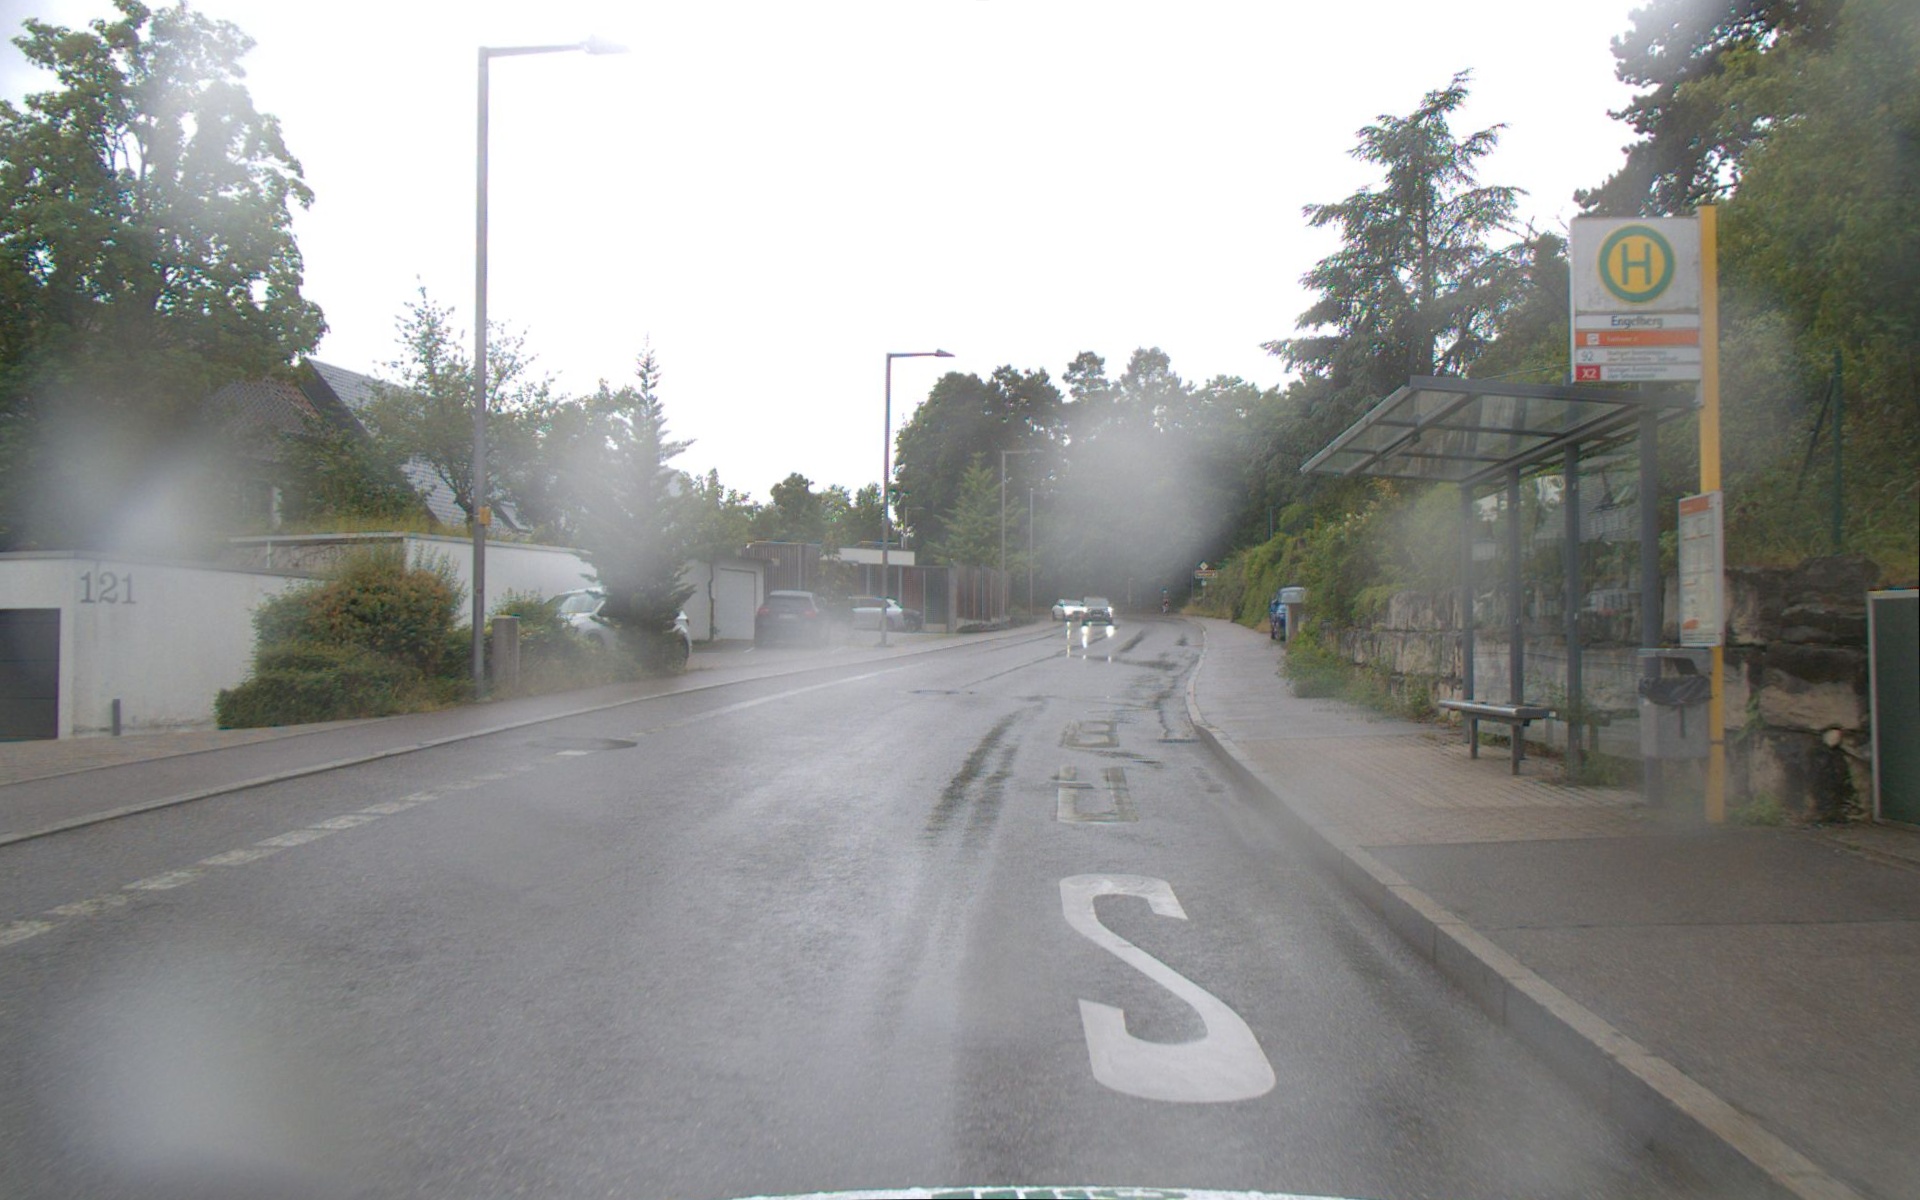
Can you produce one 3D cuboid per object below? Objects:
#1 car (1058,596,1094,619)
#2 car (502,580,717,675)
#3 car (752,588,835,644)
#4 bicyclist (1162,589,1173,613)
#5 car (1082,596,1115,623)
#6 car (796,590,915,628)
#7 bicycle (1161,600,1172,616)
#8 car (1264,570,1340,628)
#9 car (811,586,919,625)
[{"bbox_3d":[7.791,0.482,111.320,1.810,1.486,4.264,1,0,-4],"label":"car"},{"bbox_3d":[-6.290,0.455,30.218,1.670,1.580,4.388,0,0,22],"label":"car"},{"bbox_3d":[-4.422,0.390,44.463,1.796,1.430,4.259,0,0,0],"label":"car"},{"bbox_3d":[14.544,0.055,116.061,0.705,1.643,0.905,1,0,2],"label":"bicyclist"},{"bbox_3d":[7.893,0.508,94.018,1.811,1.495,3.702,1,0,6],"label":"car"},{"bbox_3d":[-4.197,0.367,66.597,4.472,1.467,1.743,1,0,-31],"label":"car"},{"bbox_3d":[14.499,0.591,116.208,0.516,1.104,1.620,1,0,0],"label":"bicycle"},{"bbox_3d":[11.037,-0.025,53.626,1.951,1.699,4.548,-3,0,7],"label":"car"},{"bbox_3d":[-4.003,0.234,69.777,4.227,1.629,1.823,0,0,-26],"label":"car"}]
